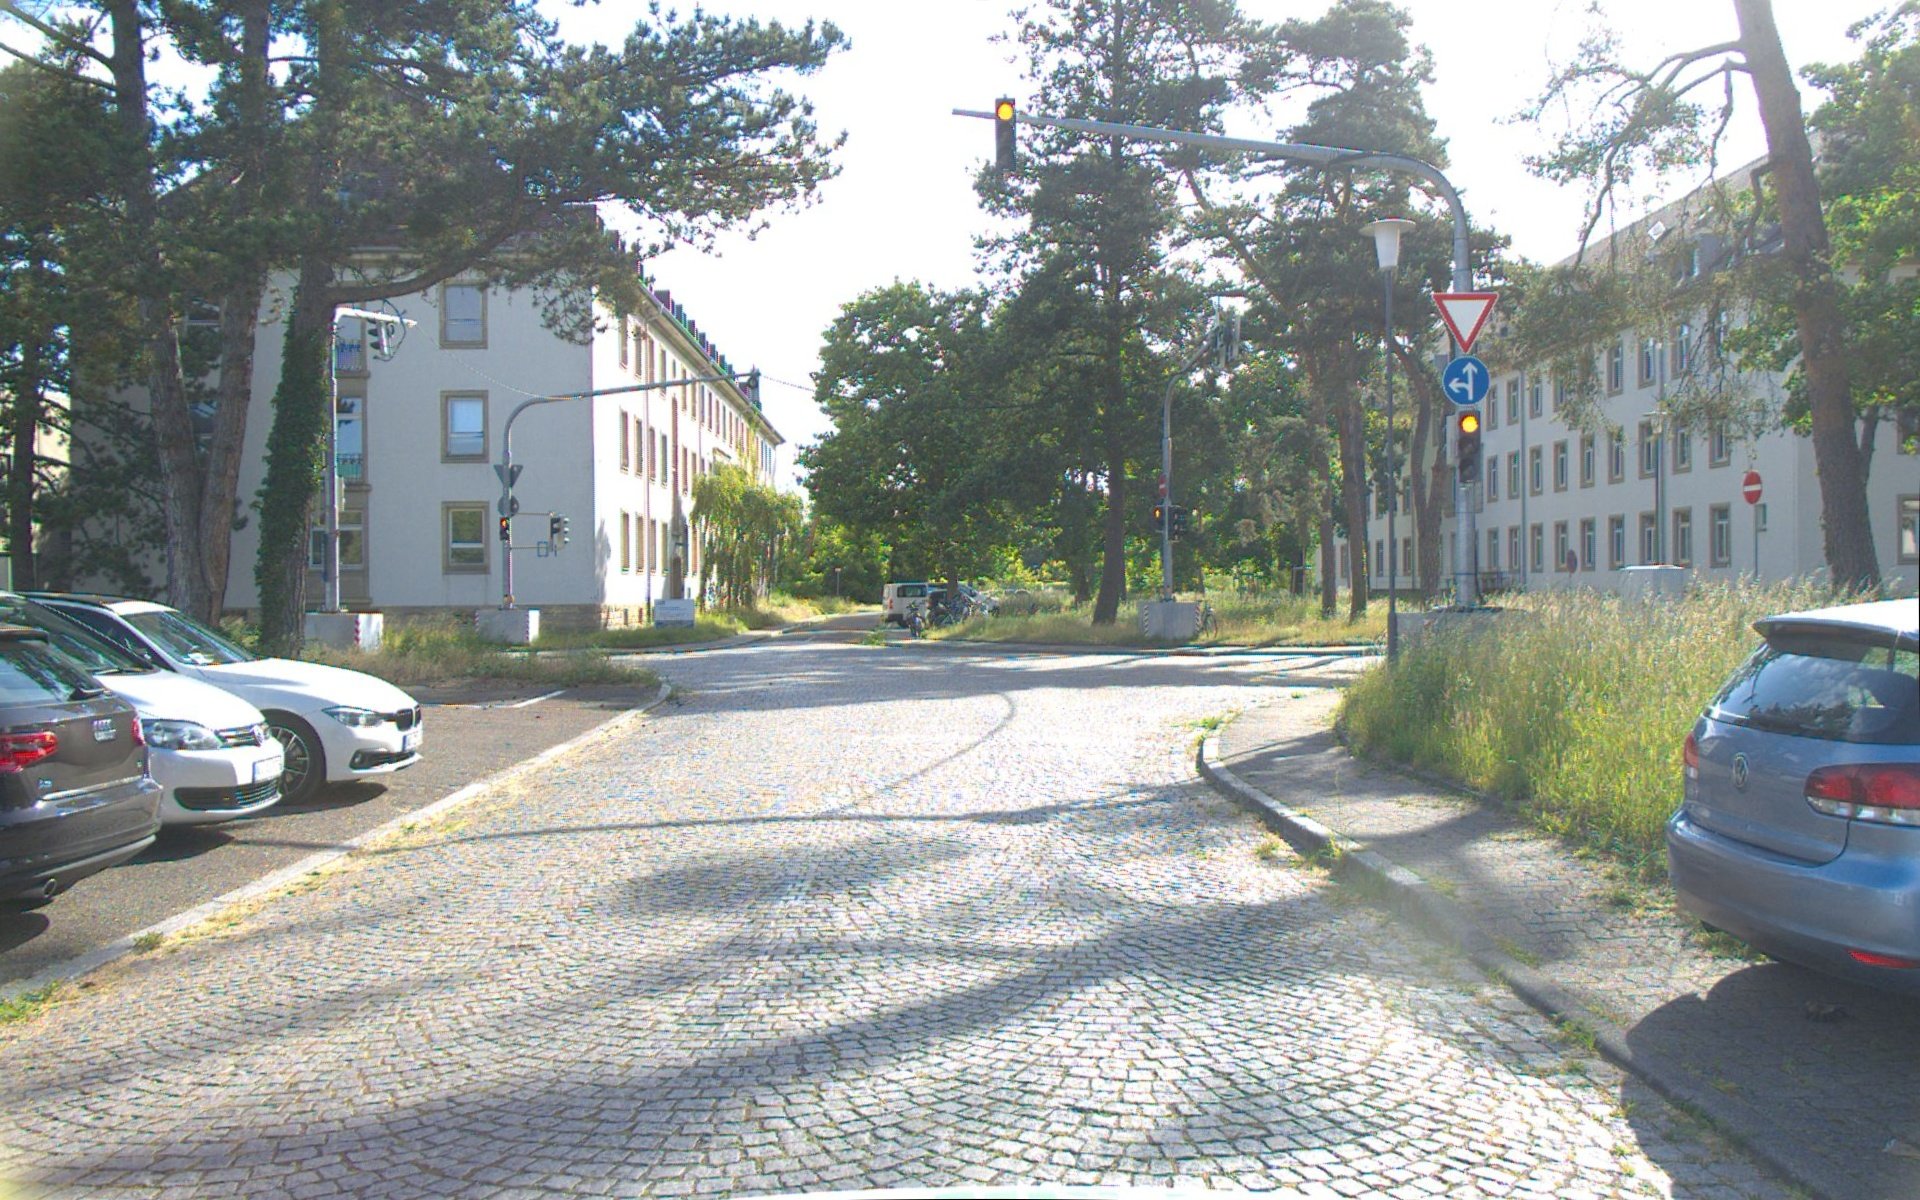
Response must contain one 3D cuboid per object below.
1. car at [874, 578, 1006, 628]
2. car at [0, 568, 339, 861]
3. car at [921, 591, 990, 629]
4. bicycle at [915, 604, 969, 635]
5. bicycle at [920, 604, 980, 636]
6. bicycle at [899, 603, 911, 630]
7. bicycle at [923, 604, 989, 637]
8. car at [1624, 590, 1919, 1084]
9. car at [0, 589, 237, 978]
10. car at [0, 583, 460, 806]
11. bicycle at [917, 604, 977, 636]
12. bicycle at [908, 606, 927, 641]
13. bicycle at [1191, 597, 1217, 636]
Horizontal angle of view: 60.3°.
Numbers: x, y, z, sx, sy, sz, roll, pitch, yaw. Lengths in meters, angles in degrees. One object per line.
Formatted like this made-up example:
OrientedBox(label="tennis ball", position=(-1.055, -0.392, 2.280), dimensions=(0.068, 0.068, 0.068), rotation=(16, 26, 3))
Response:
OrientedBox(label="car", position=(-0.863, 0.141, 72.701), dimensions=(5.439, 2.049, 1.989), rotation=(2, -1, -20))
OrientedBox(label="car", position=(-6.220, 0.616, 10.268), dimensions=(4.000, 1.621, 1.884), rotation=(2, 1, -5))
OrientedBox(label="car", position=(-0.197, 0.419, 69.147), dimensions=(2.728, 1.492, 1.669), rotation=(2, -1, -6))
OrientedBox(label="bicycle", position=(-0.637, 0.690, 58.127), dimensions=(1.804, 1.028, 0.634), rotation=(2, -1, -9))
OrientedBox(label="bicycle", position=(-0.345, 0.687, 56.380), dimensions=(1.967, 1.028, 0.631), rotation=(2, -1, -9))
OrientedBox(label="bicycle", position=(-2.131, 0.649, 64.272), dimensions=(0.409, 1.028, 1.483), rotation=(2, 0, -1))
OrientedBox(label="bicycle", position=(-0.138, 0.682, 54.672), dimensions=(2.070, 1.028, 0.619), rotation=(2, -1, -9))
OrientedBox(label="car", position=(4.594, 0.665, 5.860), dimensions=(3.803, 1.440, 1.636), rotation=(-2, 1, -1))
OrientedBox(label="car", position=(-5.571, 0.689, 7.333), dimensions=(3.909, 1.506, 1.802), rotation=(2, 1, -5))
OrientedBox(label="car", position=(-6.221, 0.663, 12.638), dimensions=(4.248, 1.494, 1.829), rotation=(2, 1, -5))
OrientedBox(label="bicycle", position=(-0.441, 0.690, 57.259), dimensions=(1.990, 1.028, 0.626), rotation=(2, -1, -9))
OrientedBox(label="bicycle", position=(-1.319, 0.717, 51.033), dimensions=(0.458, 1.028, 1.584), rotation=(2, 0, -5))
OrientedBox(label="bicycle", position=(6.299, 0.418, 42.754), dimensions=(0.295, 0.977, 1.584), rotation=(2, 0, -5))
